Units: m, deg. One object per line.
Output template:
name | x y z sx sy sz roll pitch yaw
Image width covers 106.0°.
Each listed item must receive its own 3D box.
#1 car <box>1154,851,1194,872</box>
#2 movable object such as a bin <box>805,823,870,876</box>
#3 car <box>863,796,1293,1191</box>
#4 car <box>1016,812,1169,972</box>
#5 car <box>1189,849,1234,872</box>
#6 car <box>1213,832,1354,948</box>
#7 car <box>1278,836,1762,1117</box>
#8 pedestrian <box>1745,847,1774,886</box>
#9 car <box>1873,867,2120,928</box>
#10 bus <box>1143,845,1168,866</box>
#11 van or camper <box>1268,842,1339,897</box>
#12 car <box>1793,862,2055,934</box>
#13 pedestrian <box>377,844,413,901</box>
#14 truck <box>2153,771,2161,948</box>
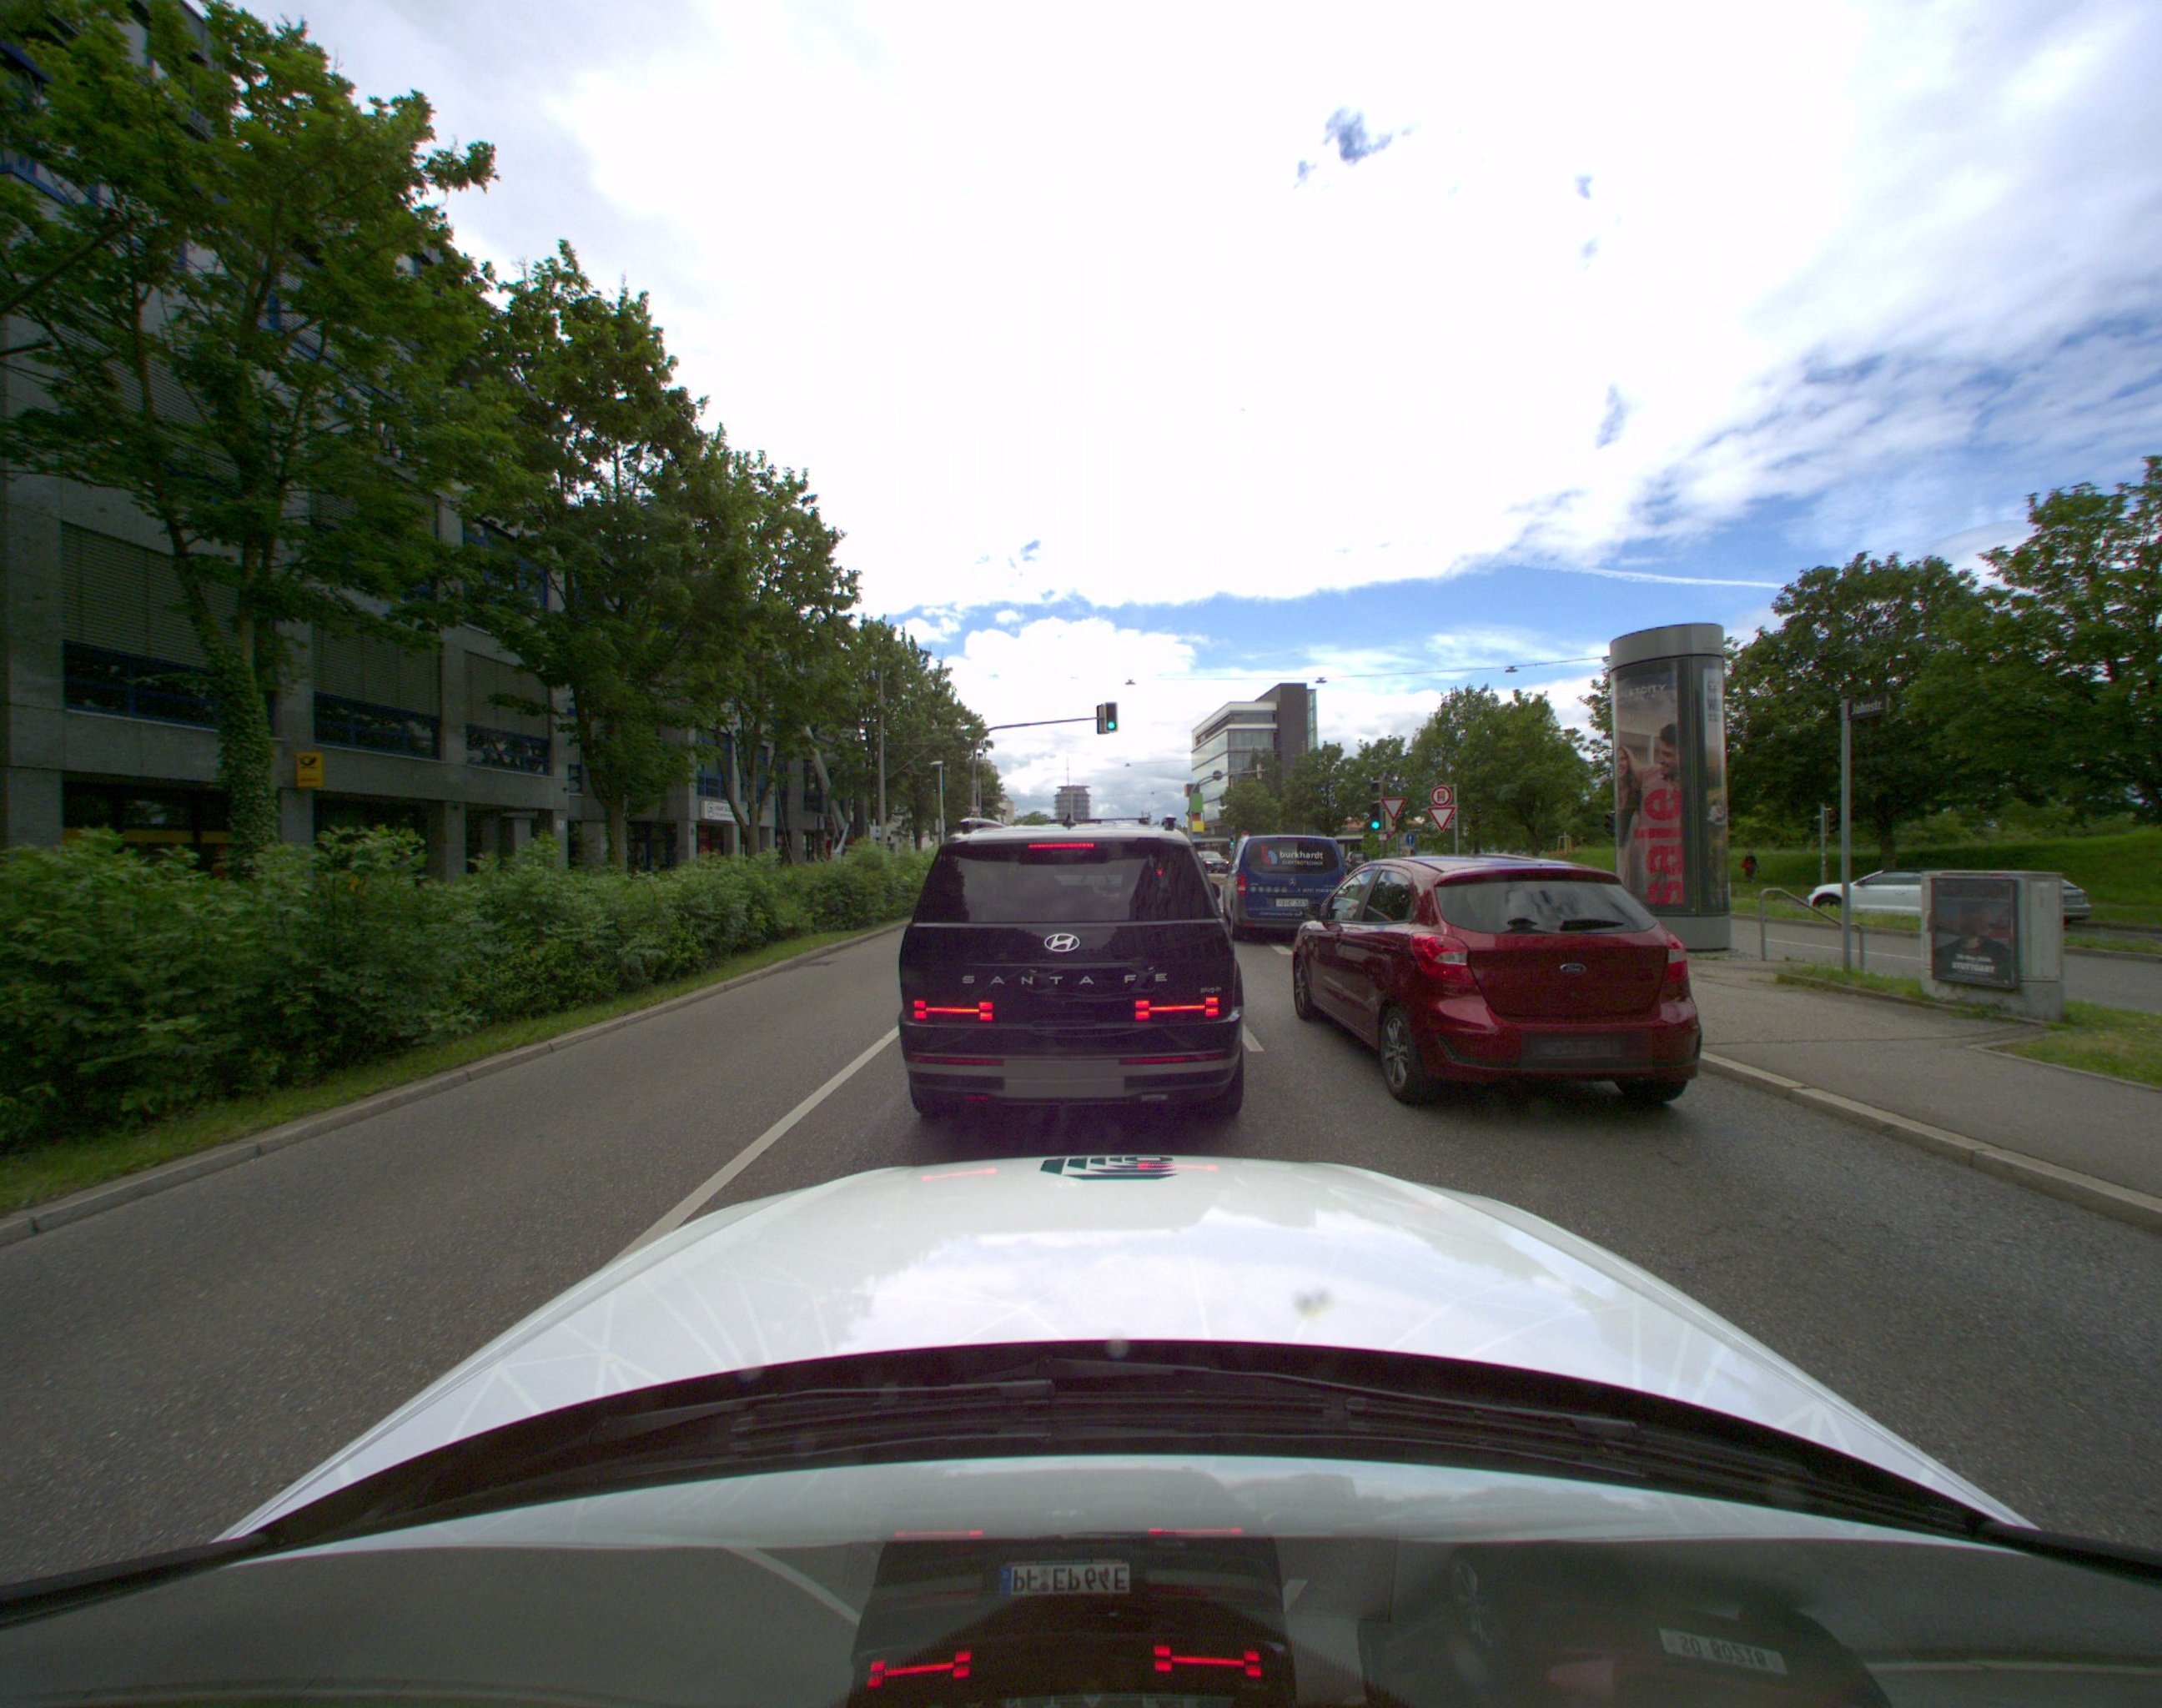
car | 6.649 0.490 58.607 1.782 1.425 4.382 0 1 -9
movable object such as a bin | -12.250 -0.240 41.245 1.898 2.531 4.128 1 0 1
car | 0.057 0.608 5.833 1.895 1.731 4.448 0 0 2
car | 0.385 0.455 12.435 1.892 1.969 4.644 0 0 6
car | 9.517 0.465 59.891 1.889 1.564 4.380 0 1 -11
car | 3.667 0.573 15.603 1.893 1.859 4.715 0 0 5
car | 2.768 0.641 6.159 1.738 1.481 3.719 0 0 1
pedestrian | 28.820 0.525 34.589 0.539 1.604 0.702 -5 1 -1
car | 25.007 1.121 22.501 1.984 1.442 4.143 0 0 -11
bus | 12.096 0.294 133.143 2.958 3.116 9.238 -2 -1 -1
van or camper | 8.509 0.499 30.885 1.976 1.917 4.434 0 1 24
car | 21.631 1.036 21.215 1.850 1.529 4.472 0 1 -11
pedestrian | -16.480 0.429 19.569 0.364 1.334 0.558 2 0 -3
truck | 26.223 0.154 13.858 2.821 3.925 9.420 0 0 -12
